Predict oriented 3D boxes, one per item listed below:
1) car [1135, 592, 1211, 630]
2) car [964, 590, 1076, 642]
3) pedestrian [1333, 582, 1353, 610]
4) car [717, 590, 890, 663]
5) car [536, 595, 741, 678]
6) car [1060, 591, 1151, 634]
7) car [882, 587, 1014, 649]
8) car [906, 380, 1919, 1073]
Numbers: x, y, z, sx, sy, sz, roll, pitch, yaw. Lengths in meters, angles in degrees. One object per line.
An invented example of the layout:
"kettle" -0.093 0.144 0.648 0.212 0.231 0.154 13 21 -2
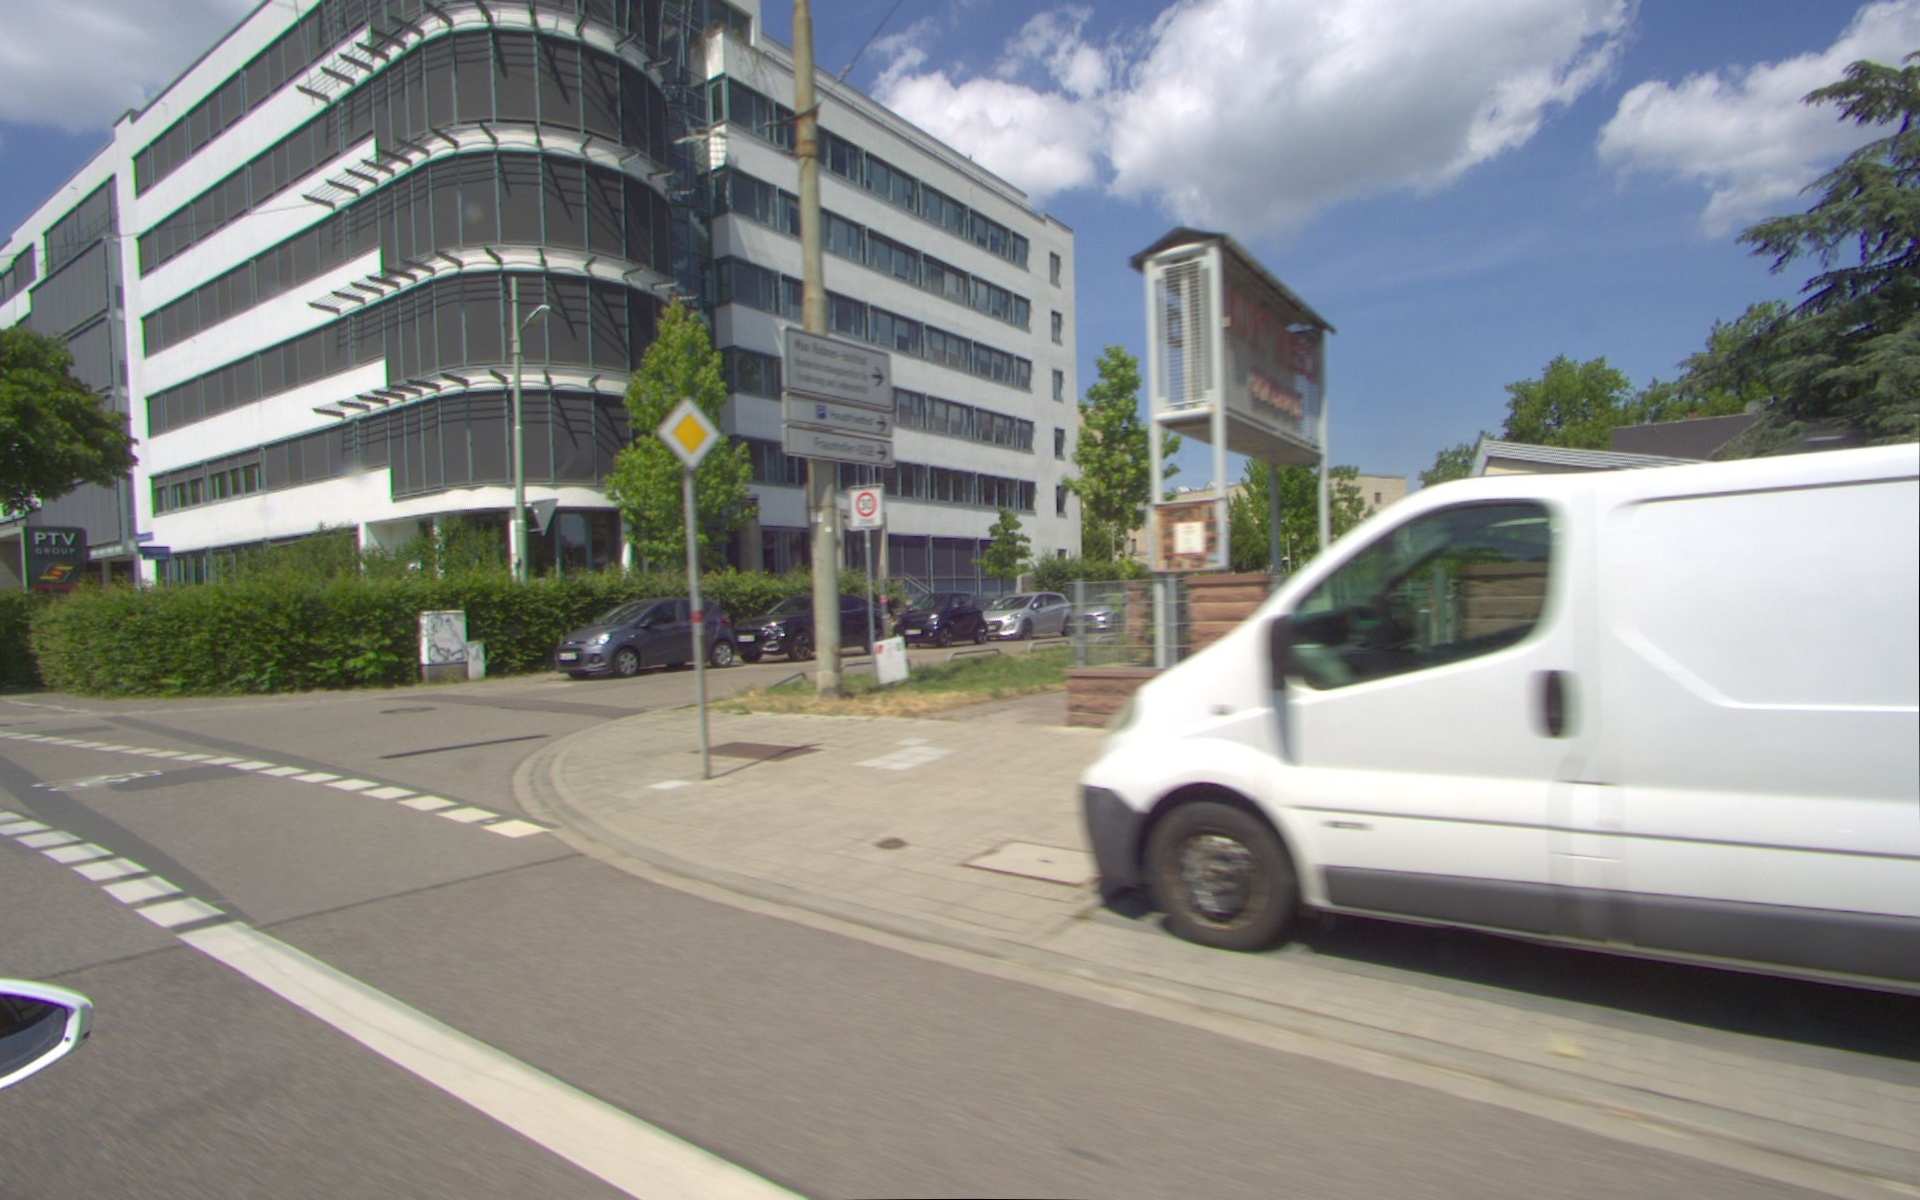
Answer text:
"car" 9.066 0.452 42.376 1.735 1.463 3.975 -2 0 35
"car" 1.979 0.473 31.954 1.735 1.519 3.975 -2 0 35
"pedestrian" 24.681 -0.249 64.537 0.990 1.739 0.785 -1 -1 36
"car" -3.594 0.573 23.606 1.735 1.544 3.974 -1 0 35
"car" -6.338 0.670 20.058 1.735 1.470 3.589 -1 0 35
"car" 5.437 0.445 37.171 1.735 1.463 3.975 -2 0 35
"car" -0.263 0.485 28.533 1.735 1.627 3.975 -2 0 35
"car" 2.545 0.352 4.284 5.442 2.019 1.986 -1 2 36
